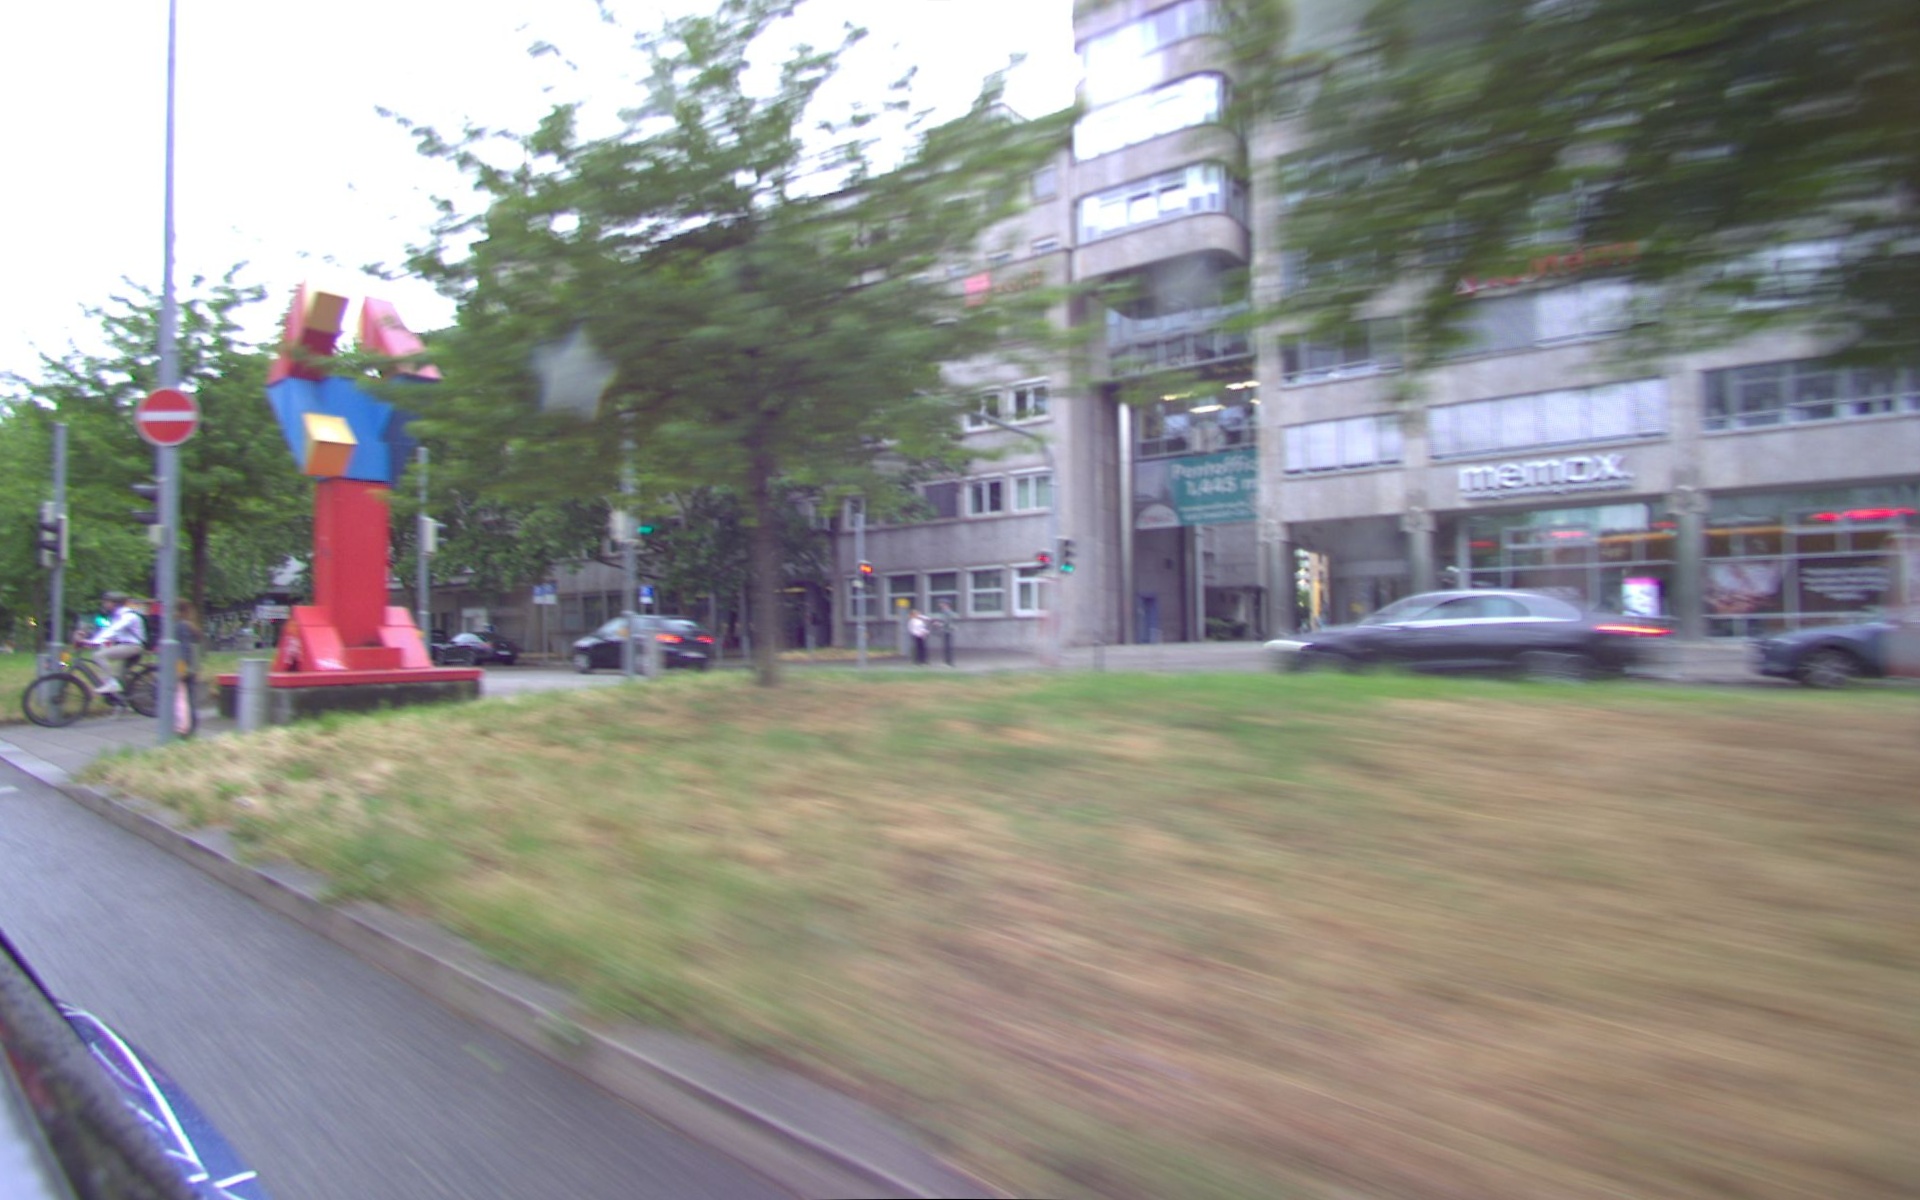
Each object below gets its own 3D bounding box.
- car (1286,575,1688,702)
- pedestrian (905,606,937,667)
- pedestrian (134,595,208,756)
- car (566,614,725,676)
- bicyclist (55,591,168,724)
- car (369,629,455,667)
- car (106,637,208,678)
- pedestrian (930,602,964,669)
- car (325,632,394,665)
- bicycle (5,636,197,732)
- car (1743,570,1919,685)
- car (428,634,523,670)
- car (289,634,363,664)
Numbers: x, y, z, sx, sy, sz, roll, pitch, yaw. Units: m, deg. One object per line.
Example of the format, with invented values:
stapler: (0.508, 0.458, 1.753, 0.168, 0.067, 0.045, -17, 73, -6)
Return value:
car: (6.957, 0.530, 13.621, 4.556, 1.440, 1.845, -2, -3, 36)
pedestrian: (-1.068, 0.999, 27.928, 0.619, 1.641, 0.599, -3, -2, 42)
pedestrian: (-8.666, 0.810, 11.117, 0.721, 1.698, 0.522, -3, -2, 42)
car: (-7.796, 1.126, 24.991, 3.993, 1.425, 1.773, -2, -4, 37)
bicyclist: (-12.079, 0.778, 14.419, 0.812, 1.762, 1.065, 0, 2, 42)
car: (-24.908, 2.164, 45.957, 4.461, 1.634, 1.844, -2, -3, 38)
car: (-30.870, 2.185, 38.851, 4.714, 1.478, 1.774, -2, -4, 35)
pedestrian: (-0.354, 0.955, 27.575, 0.721, 1.801, 0.522, -3, -2, 42)
car: (-29.000, 2.333, 48.835, 3.687, 1.514, 1.670, -2, -3, 38)
bicycle: (-12.130, 1.147, 14.342, 0.777, 1.148, 1.951, -3, 1, 42)
car: (15.354, 0.432, 15.877, 4.786, 1.739, 1.844, -2, -3, 38)
car: (-20.611, 2.189, 43.005, 4.559, 1.440, 1.844, -2, -3, 38)
car: (-32.459, 2.493, 51.793, 4.569, 1.498, 1.768, -2, -3, 38)
